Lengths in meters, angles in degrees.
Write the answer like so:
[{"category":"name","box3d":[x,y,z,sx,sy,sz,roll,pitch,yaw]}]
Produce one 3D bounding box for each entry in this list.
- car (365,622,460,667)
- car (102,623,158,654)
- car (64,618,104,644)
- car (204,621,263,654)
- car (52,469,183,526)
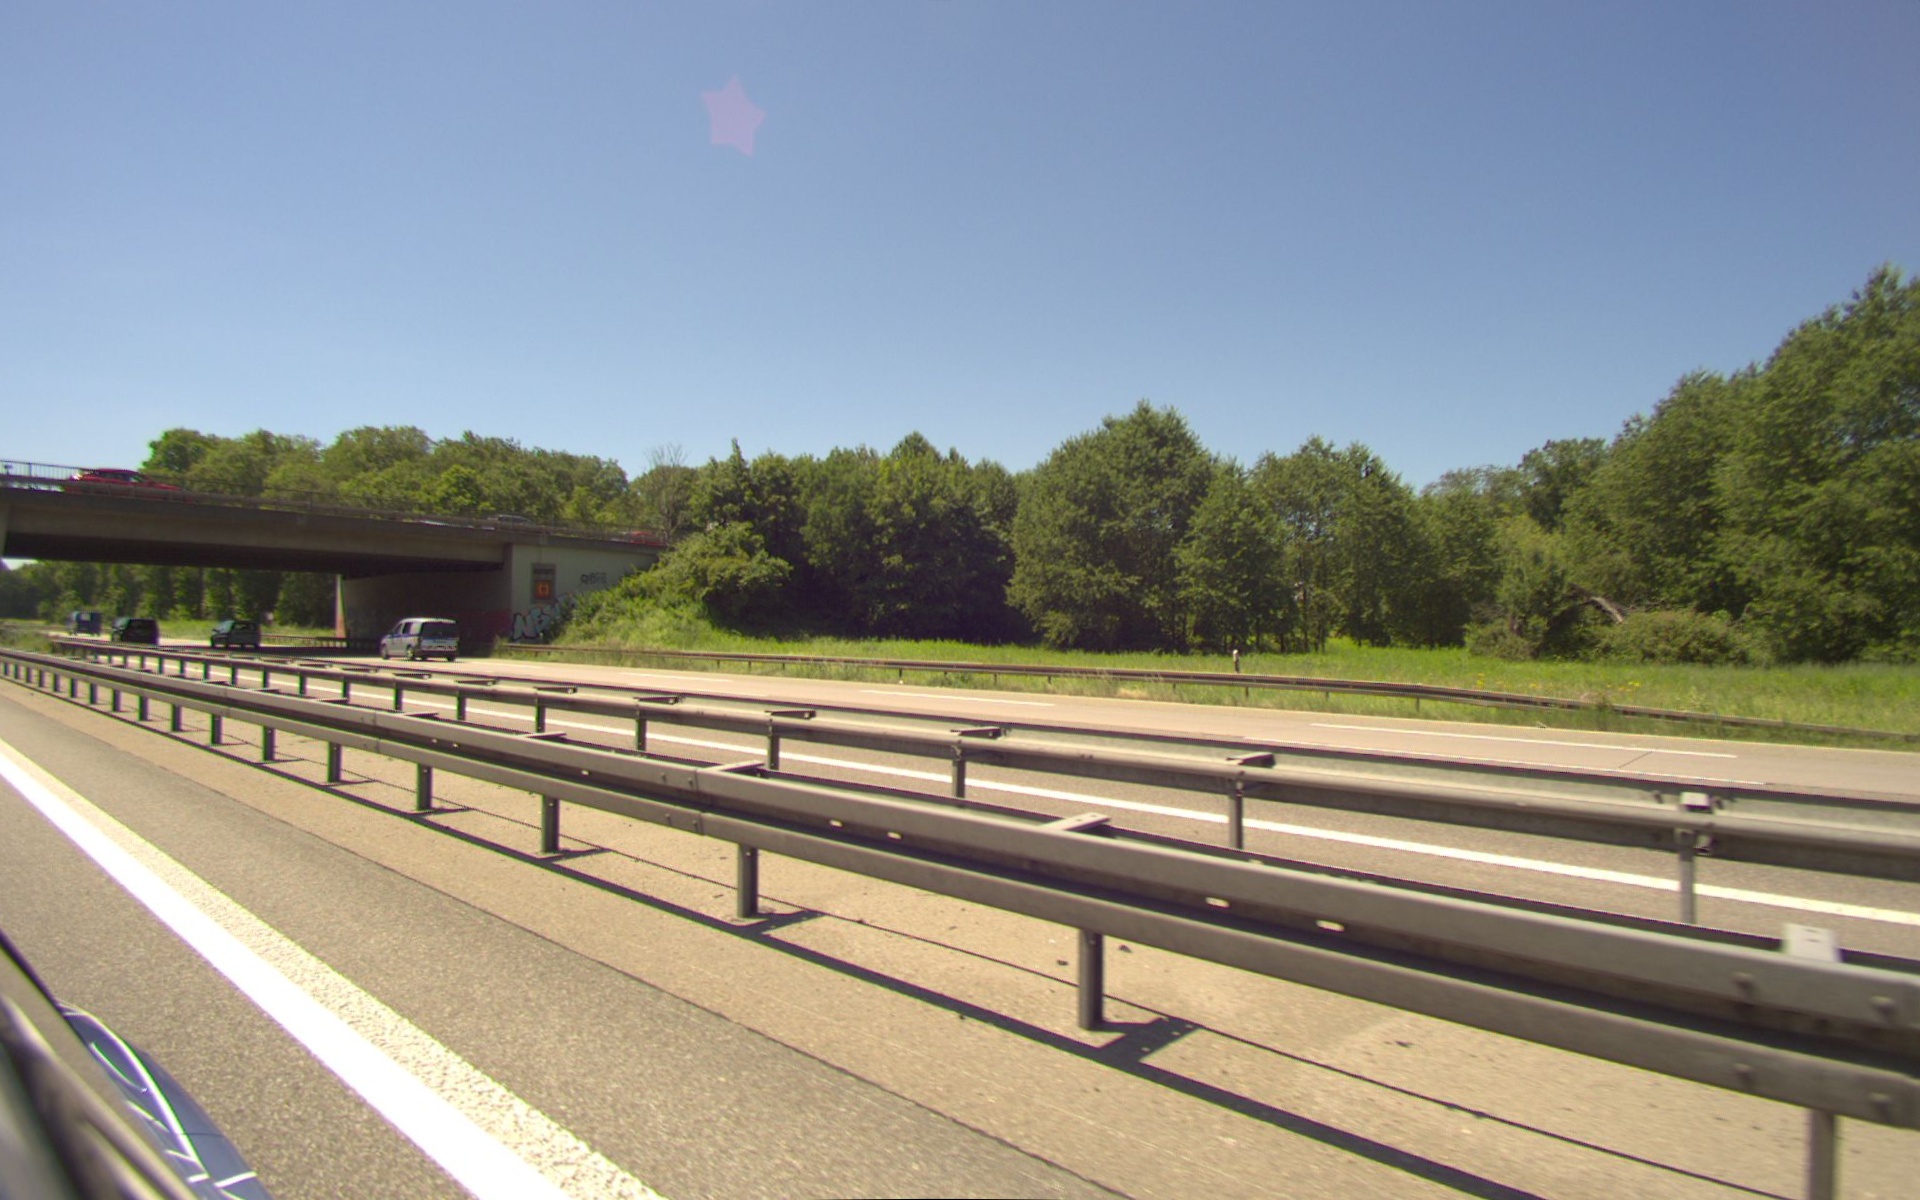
[{"category":"car","box3d":[-23.328,1.874,43.013,5.082,1.776,1.723,-1,-3,39]},{"category":"car","box3d":[-47.759,2.198,58.207,4.637,1.732,1.722,-1,-3,41]},{"category":"car","box3d":[-85.218,2.990,98.435,5.730,2.417,2.068,-1,-1,40]},{"category":"car","box3d":[-42.550,2.195,59.226,4.933,1.819,1.722,-1,-3,41]},{"category":"car","box3d":[-36.711,-4.394,44.171,1.997,2.029,4.106,-1,-1,38]}]
